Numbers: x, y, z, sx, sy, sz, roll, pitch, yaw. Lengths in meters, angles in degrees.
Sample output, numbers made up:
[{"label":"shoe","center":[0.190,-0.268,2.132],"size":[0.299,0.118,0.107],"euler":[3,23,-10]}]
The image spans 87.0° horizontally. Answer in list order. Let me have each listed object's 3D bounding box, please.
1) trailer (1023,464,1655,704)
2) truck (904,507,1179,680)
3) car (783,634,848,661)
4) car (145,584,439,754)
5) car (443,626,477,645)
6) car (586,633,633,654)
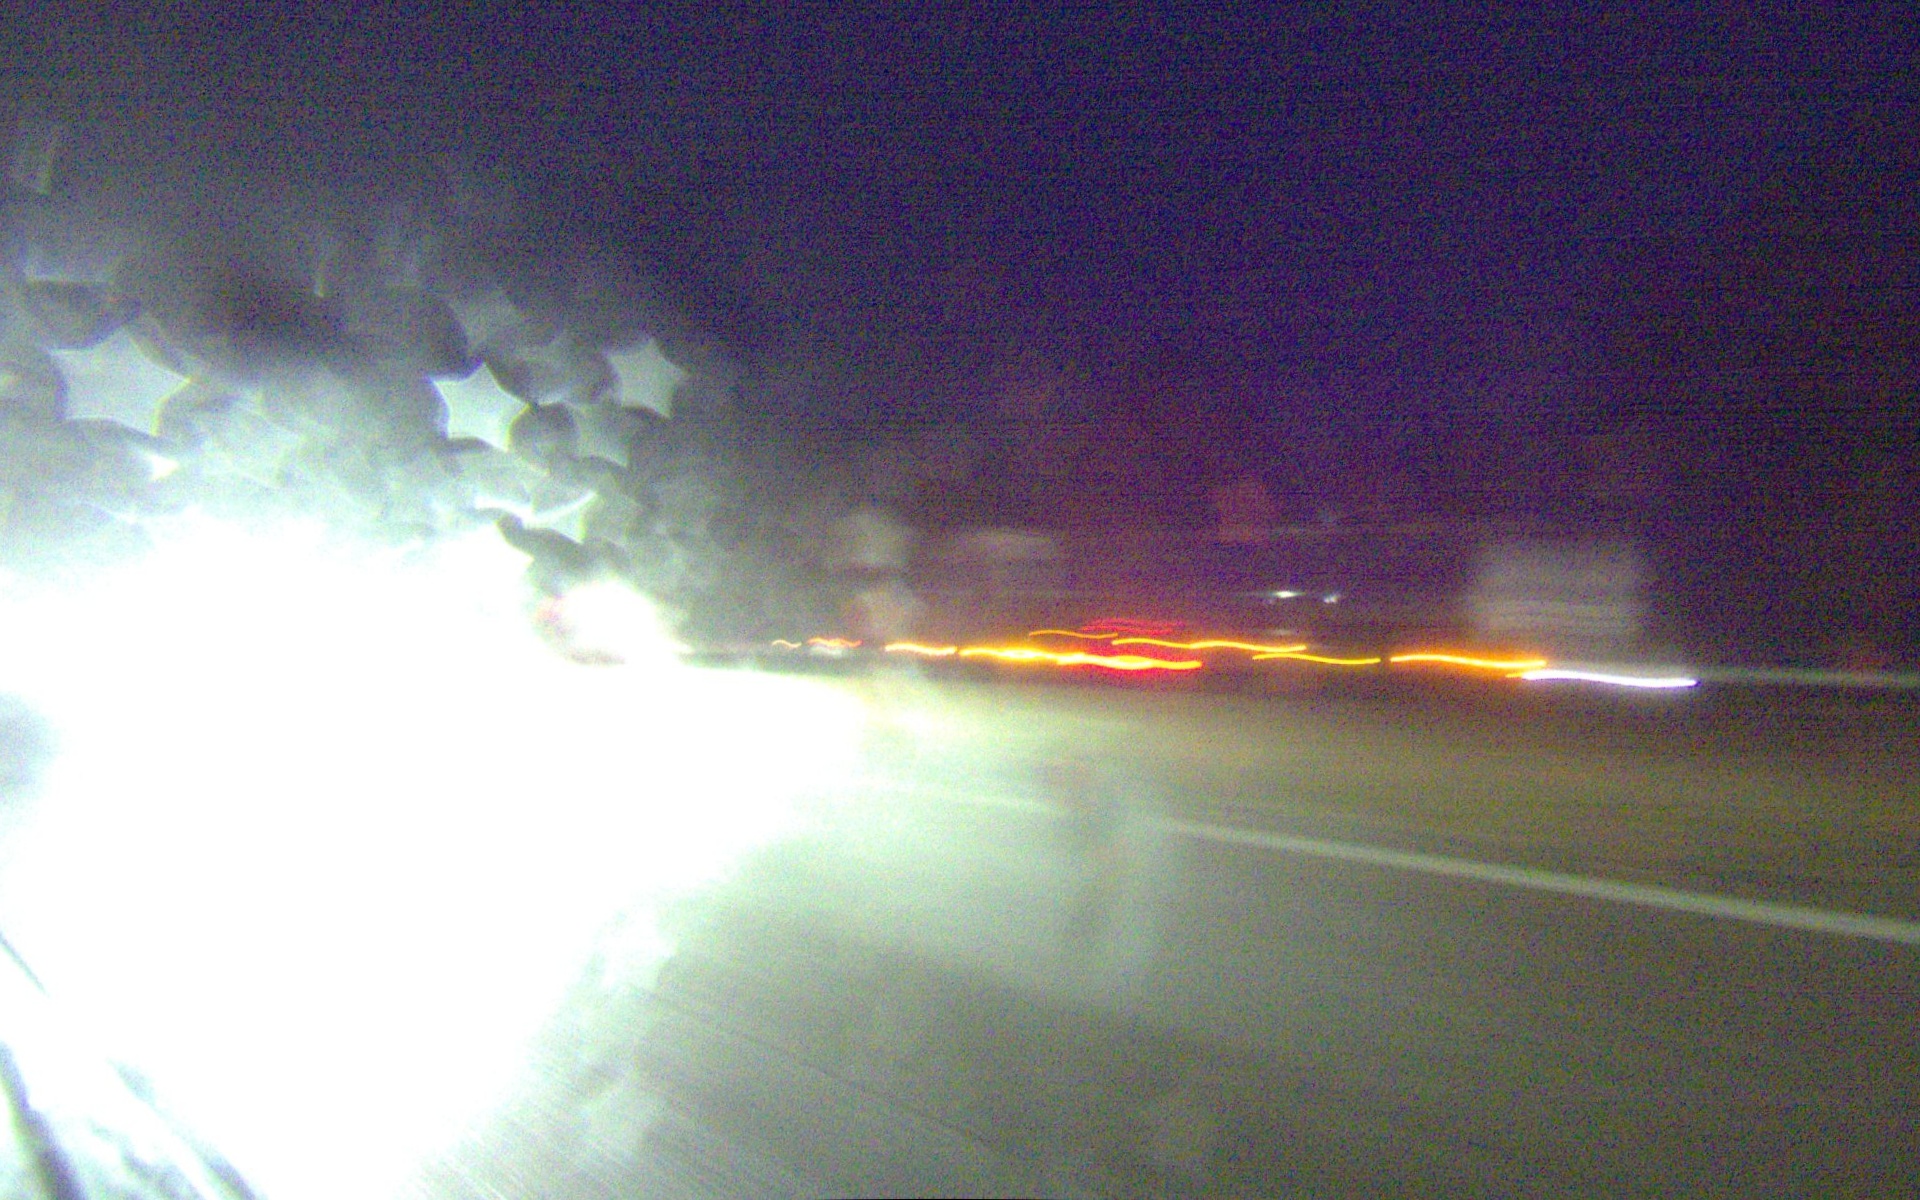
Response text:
[{"label":"trailer","center":[6.918,-0.115,20.882],"size":[12.013,3.777,2.668],"euler":[-1,-4,41]},{"label":"truck","center":[1.892,-0.040,25.219],"size":[6.450,3.788,2.668],"euler":[-1,-4,41]},{"label":"car","center":[-7.265,2.384,50.741],"size":[3.231,1.294,1.480],"euler":[-1,-4,43]},{"label":"car","center":[-9.395,0.821,13.987],"size":[5.555,1.899,2.113],"euler":[-1,-2,43]},{"label":"car","center":[-44.953,3.186,90.959],"size":[1.694,1.668,3.666],"euler":[4,-4,-43]},{"label":"car","center":[-23.928,2.965,69.094],"size":[3.554,1.294,1.469],"euler":[-1,-4,43]}]
